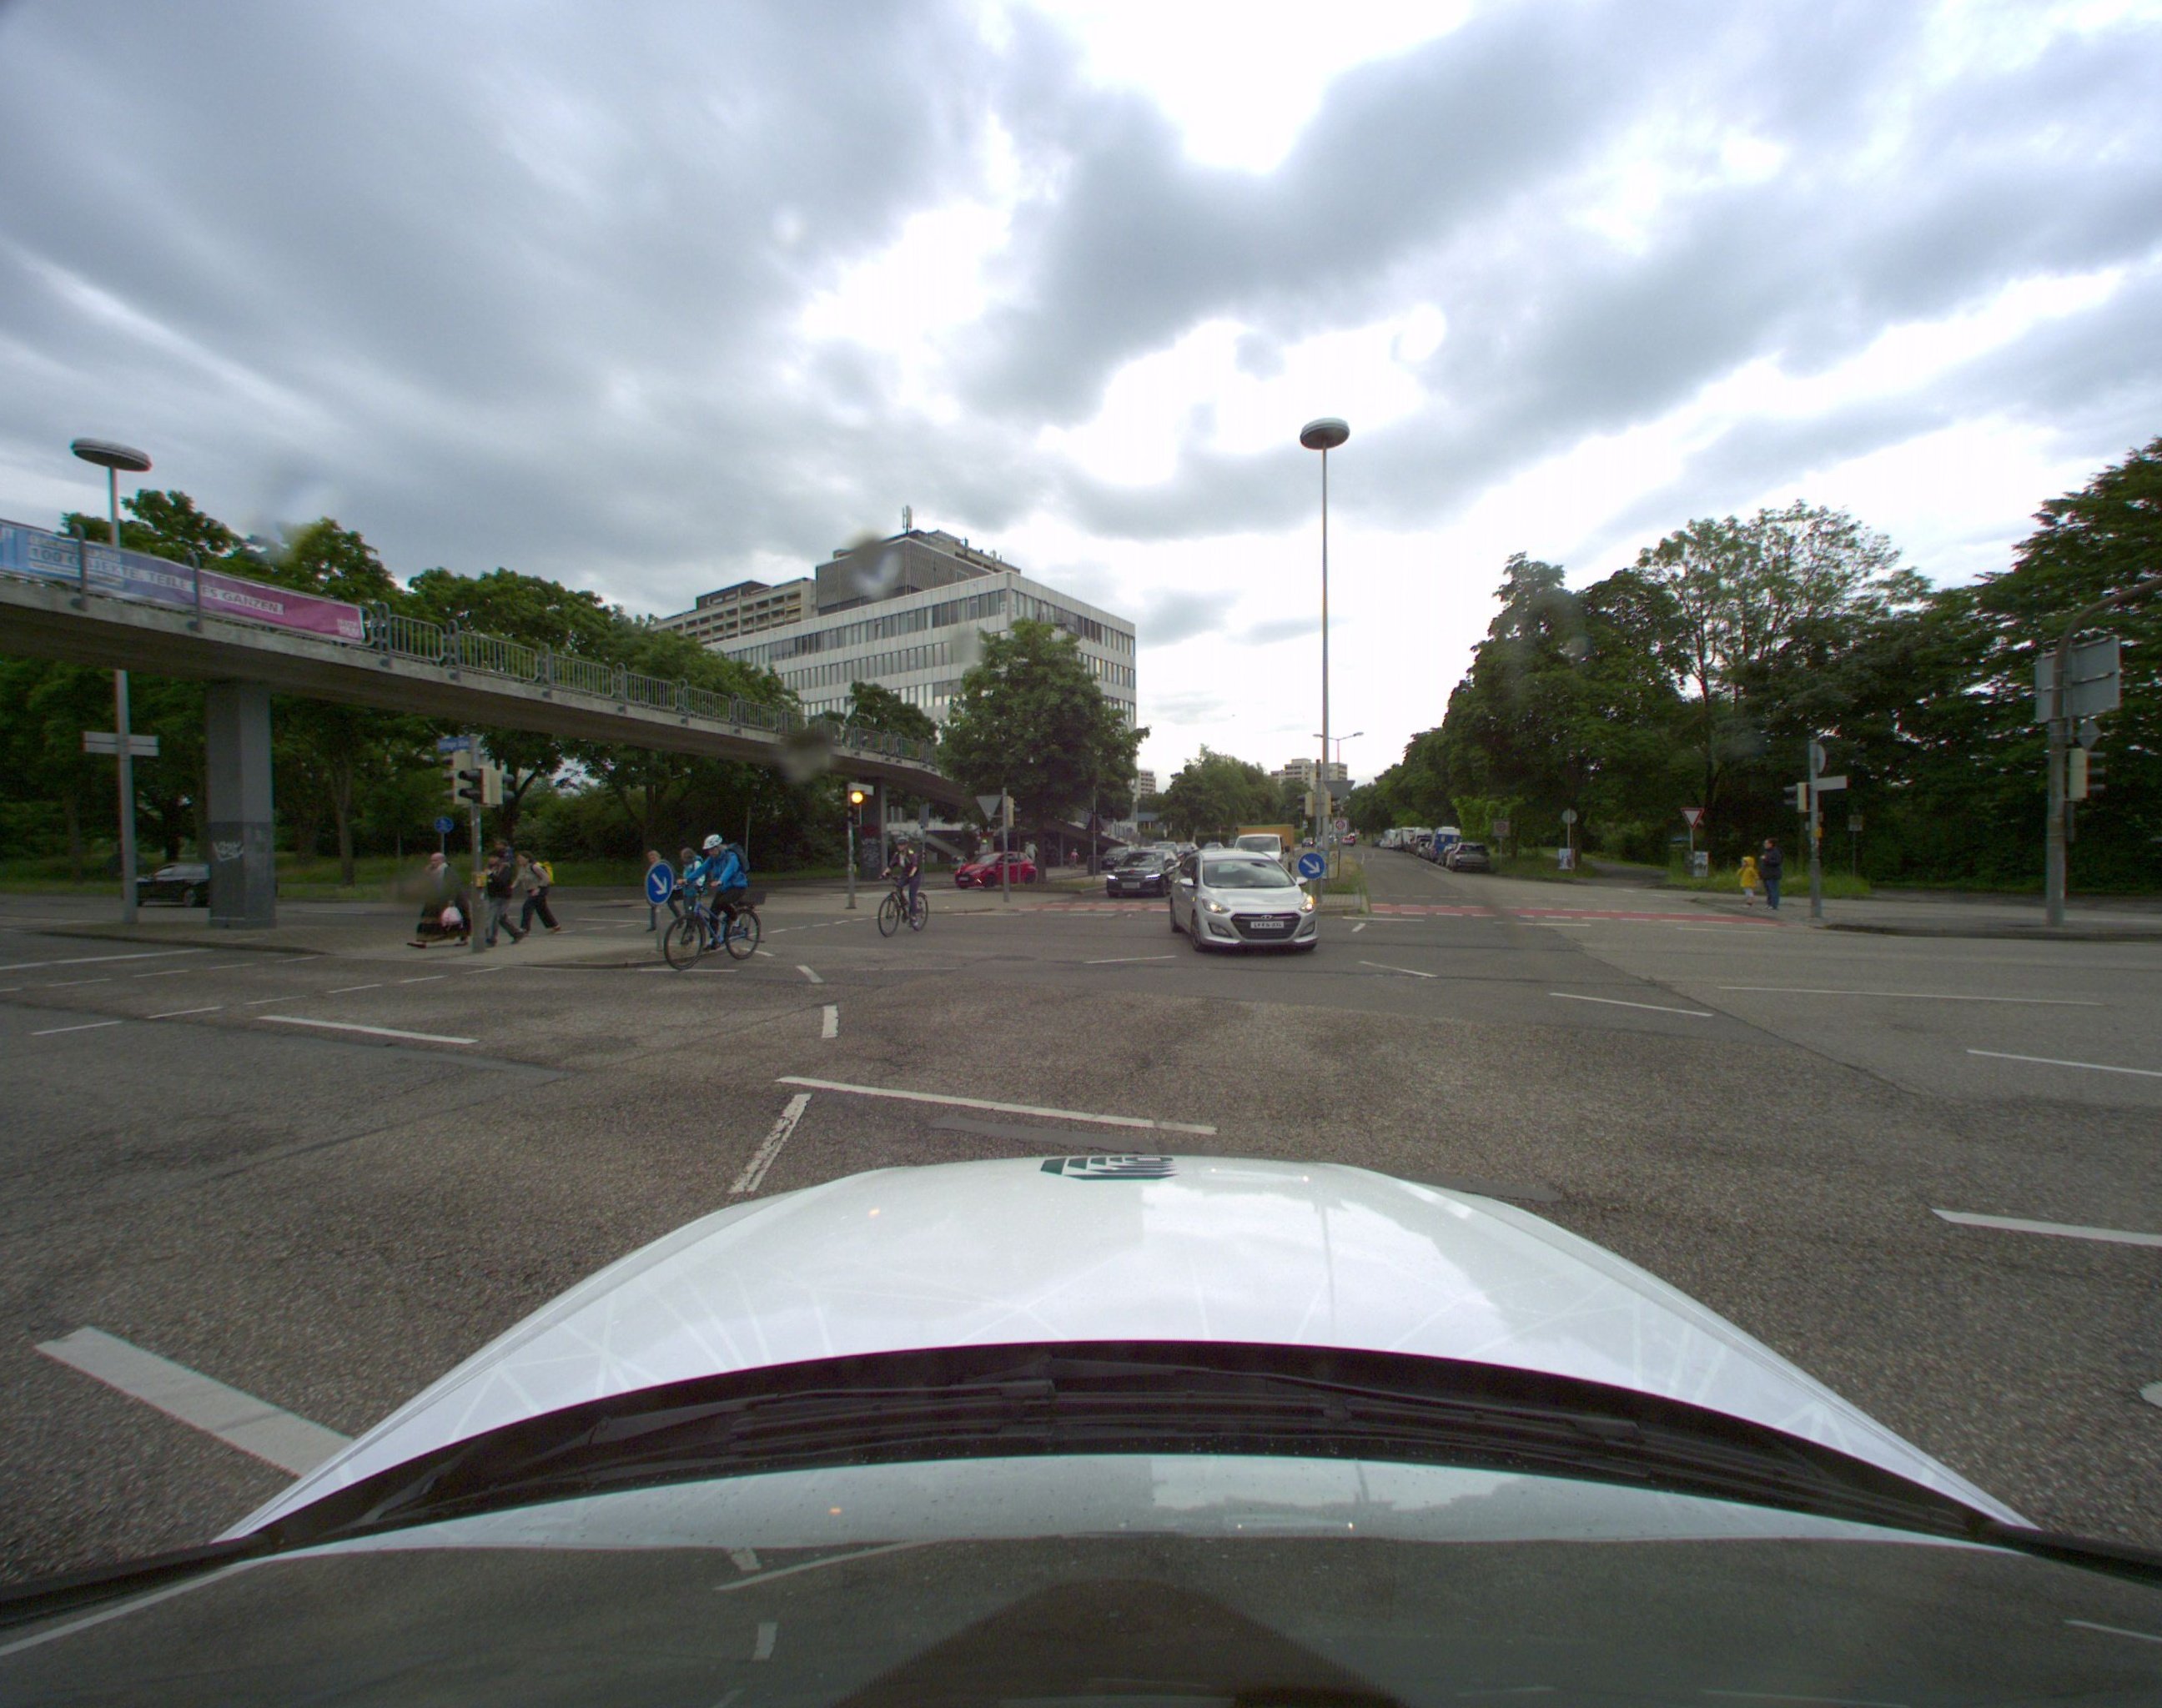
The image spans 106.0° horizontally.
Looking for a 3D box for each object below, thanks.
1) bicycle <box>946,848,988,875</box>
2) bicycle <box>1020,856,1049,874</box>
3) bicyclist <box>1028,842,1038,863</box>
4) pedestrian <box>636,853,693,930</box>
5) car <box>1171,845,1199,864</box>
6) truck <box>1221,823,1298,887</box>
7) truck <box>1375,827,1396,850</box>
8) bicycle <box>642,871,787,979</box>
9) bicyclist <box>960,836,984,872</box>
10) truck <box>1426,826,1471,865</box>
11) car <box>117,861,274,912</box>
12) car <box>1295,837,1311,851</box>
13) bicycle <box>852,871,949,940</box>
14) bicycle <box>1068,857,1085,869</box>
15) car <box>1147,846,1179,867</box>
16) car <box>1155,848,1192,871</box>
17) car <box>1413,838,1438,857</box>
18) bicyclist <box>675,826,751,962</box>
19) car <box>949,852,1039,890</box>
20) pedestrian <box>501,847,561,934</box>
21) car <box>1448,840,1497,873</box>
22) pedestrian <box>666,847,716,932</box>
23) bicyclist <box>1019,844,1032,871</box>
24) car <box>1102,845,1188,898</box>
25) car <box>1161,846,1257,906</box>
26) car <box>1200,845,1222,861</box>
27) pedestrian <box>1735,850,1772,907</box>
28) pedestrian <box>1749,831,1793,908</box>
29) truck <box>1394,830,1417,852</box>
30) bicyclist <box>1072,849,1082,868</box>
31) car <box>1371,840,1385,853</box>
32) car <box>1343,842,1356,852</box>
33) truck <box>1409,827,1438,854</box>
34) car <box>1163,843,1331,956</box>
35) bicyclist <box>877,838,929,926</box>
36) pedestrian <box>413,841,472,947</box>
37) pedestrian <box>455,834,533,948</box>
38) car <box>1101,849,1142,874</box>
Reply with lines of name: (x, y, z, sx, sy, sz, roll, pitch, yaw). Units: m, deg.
bicycle: (-6.103, 0.380, 43.800, 0.849, 1.315, 3.246, 0, 2, 19)
bicycle: (-2.580, 0.620, 45.732, 0.755, 0.949, 1.965, 0, 1, 26)
bicyclist: (-2.696, -0.082, 45.681, 0.401, 1.181, 0.379, 2, 2, 19)
pedestrian: (-8.291, 0.734, 16.223, 0.912, 1.510, 0.404, 0, 1, 6)
car: (8.927, 0.058, 69.799, 1.658, 1.552, 4.019, 0, 1, 18)
truck: (6.935, -0.023, 31.094, 2.138, 2.199, 5.869, 0, 1, 19)
truck: (40.965, -2.106, 109.585, 1.979, 3.009, 5.794, 0, 0, 14)
bicycle: (-4.957, 0.905, 11.199, 0.538, 1.267, 2.120, 0, 1, 17)
bicyclist: (-5.922, -0.012, 44.374, 0.849, 1.892, 1.133, 0, 1, 19)
truck: (26.614, -0.582, 59.133, 2.157, 2.656, 6.274, -1, 0, 17)
car: (-28.654, 1.013, 26.376, 4.349, 1.508, 1.680, 0, 2, 17)
car: (33.259, -1.468, 121.960, 1.977, 2.013, 4.019, 0, 1, 18)
bicycle: (-3.298, 0.910, 15.140, 0.721, 1.101, 2.274, 0, 1, 17)
bicycle: (-0.262, 0.574, 52.444, 0.505, 0.778, 1.850, 0, 1, 19)
car: (6.358, 0.170, 62.981, 1.658, 1.552, 3.780, 0, 1, 18)
car: (5.751, 0.303, 50.463, 1.544, 1.346, 2.988, 0, 1, 22)
car: (32.926, -0.674, 77.991, 1.707, 1.759, 4.017, 0, 1, 16)
bicyclist: (-4.964, 0.520, 11.009, 0.639, 1.768, 0.649, 0, 1, 15)
car: (-3.425, 0.640, 32.615, 1.497, 1.390, 3.555, 0, 0, 38)
pedestrian: (-10.311, 0.672, 15.284, 0.577, 1.579, 0.781, -1, 1, -1)
car: (20.746, 0.110, 43.288, 1.770, 1.662, 4.018, 0, 1, 17)
pedestrian: (-7.507, 0.672, 15.692, 0.682, 1.604, 0.490, 0, 1, 13)
bicyclist: (-3.345, 0.217, 48.808, 0.559, 1.644, 0.535, 0, 0, 33)
car: (2.124, 0.490, 25.875, 1.756, 1.477, 4.410, 0, 1, 18)
car: (3.630, 0.530, 22.366, 1.881, 1.420, 4.758, 0, 1, 18)
car: (13.151, -0.085, 82.250, 1.658, 1.552, 4.019, 0, 1, 18)
pedestrian: (16.118, 0.582, 19.517, 0.522, 1.341, 0.527, 0, 1, 17)
pedestrian: (15.988, 0.358, 18.889, 0.652, 1.749, 0.461, 0, 1, 17)
truck: (39.344, -1.546, 98.746, 1.979, 2.572, 5.401, 0, 0, 15)
bicyclist: (-0.256, 0.260, 52.493, 0.427, 1.217, 0.570, 0, 1, 16)
car: (45.582, -1.229, 125.103, 1.640, 1.918, 3.934, 0, 2, 13)
car: (43.878, -1.198, 133.097, 2.004, 1.505, 4.018, 0, 1, 17)
truck: (36.522, -1.452, 86.926, 1.979, 2.838, 5.753, 0, 1, 14)
car: (2.491, 0.584, 13.283, 1.784, 1.519, 4.323, -1, 1, -1)
bicyclist: (-3.305, 0.499, 15.176, 0.673, 1.594, 0.698, 0, 0, 17)
pedestrian: (-10.385, 0.643, 13.257, 0.616, 1.691, 0.406, 0, 1, 3)
pedestrian: (-9.637, 0.585, 13.393, 0.633, 1.803, 0.804, 0, 1, 8)
car: (2.684, 0.451, 52.737, 1.658, 1.552, 3.910, 0, 1, 18)
